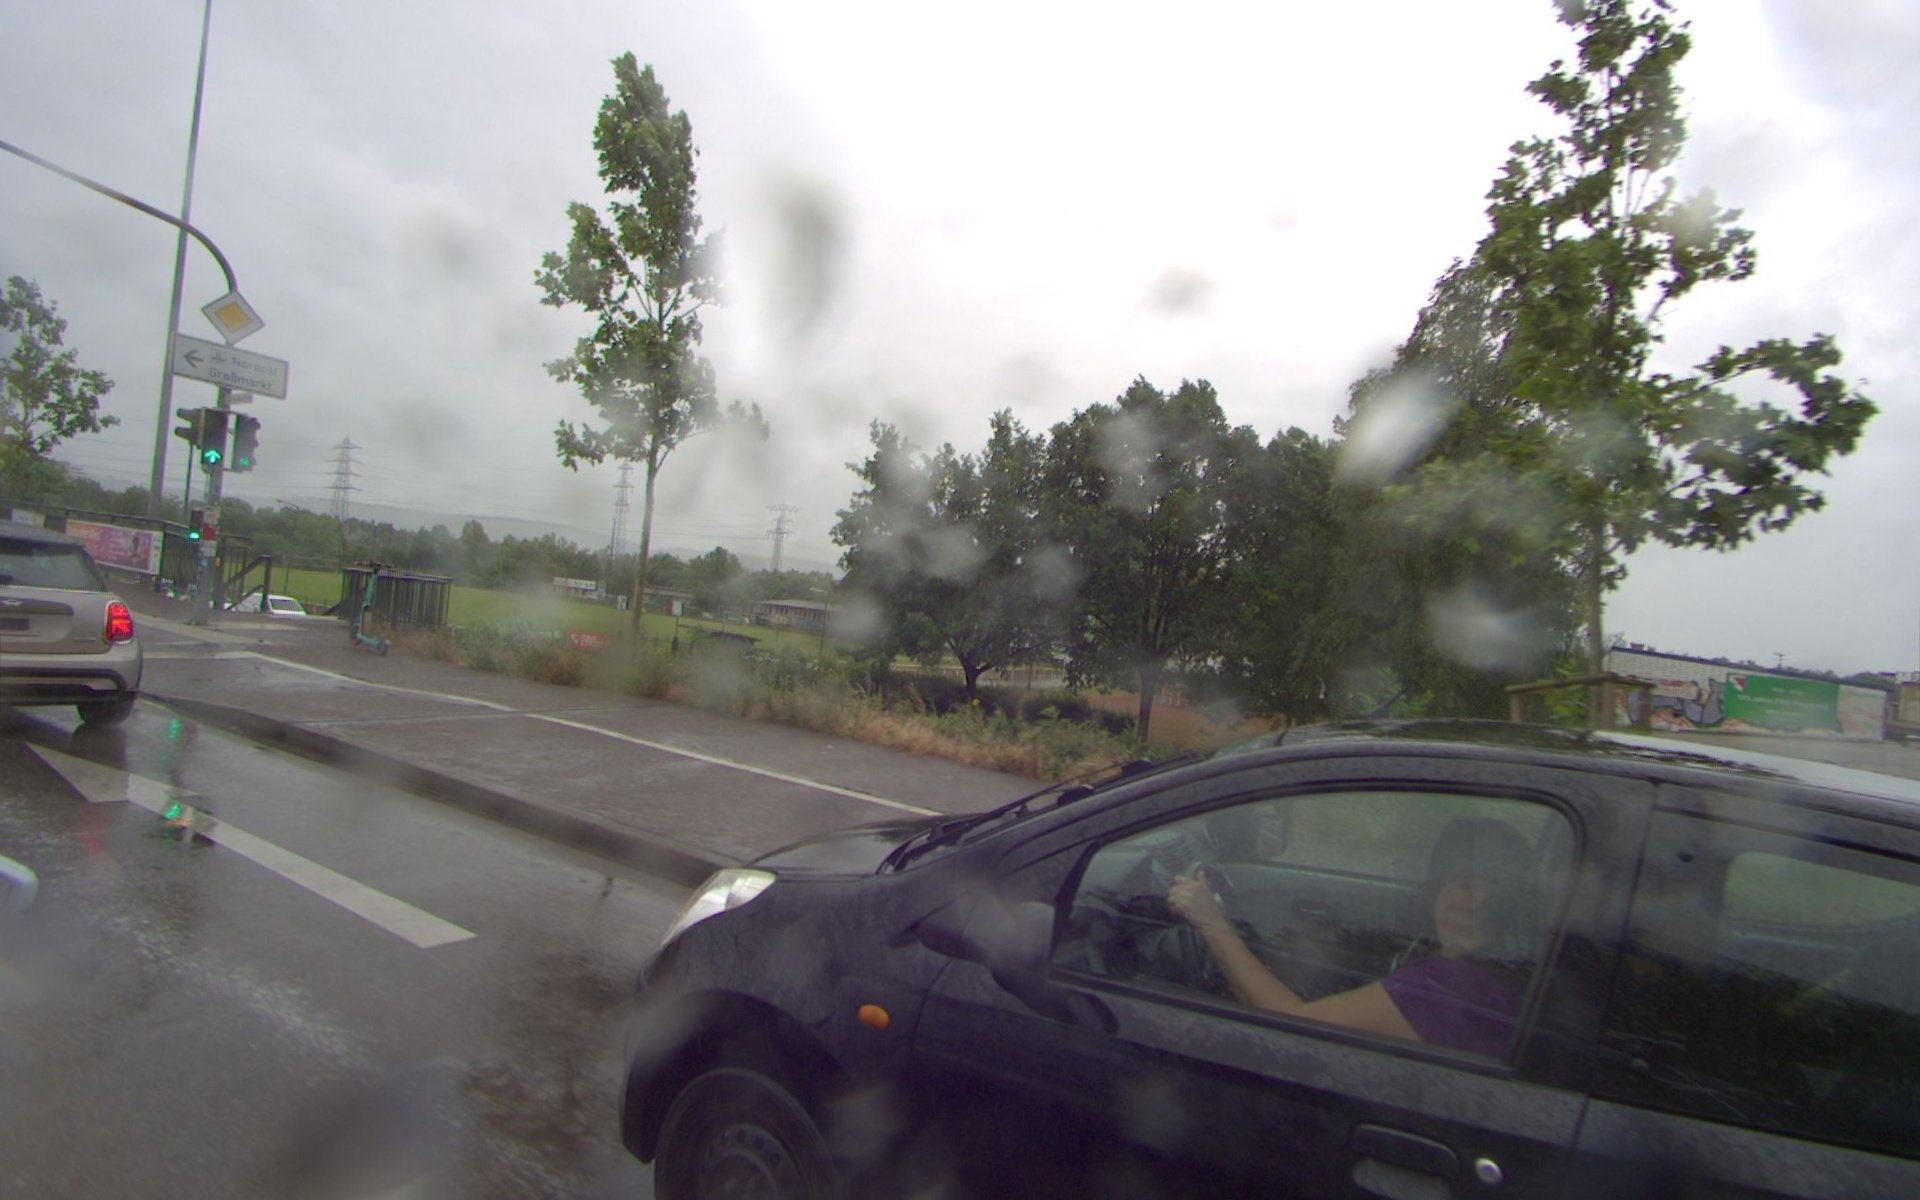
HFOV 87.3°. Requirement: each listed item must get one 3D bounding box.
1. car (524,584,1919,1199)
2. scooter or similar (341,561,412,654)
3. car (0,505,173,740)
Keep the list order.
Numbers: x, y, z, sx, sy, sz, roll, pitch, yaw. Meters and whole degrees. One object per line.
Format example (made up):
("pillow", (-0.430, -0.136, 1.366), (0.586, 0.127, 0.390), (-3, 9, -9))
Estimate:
("car", (1.019, 0.927, 2.040), (3.564, 1.445, 1.632), (6, -2, 32))
("scooter or similar", (-8.049, 0.088, 13.863), (1.167, 1.171, 0.246), (5, -2, 34))
("car", (-7.747, 0.003, 7.493), (3.564, 1.525, 1.717), (6, -2, 32))
